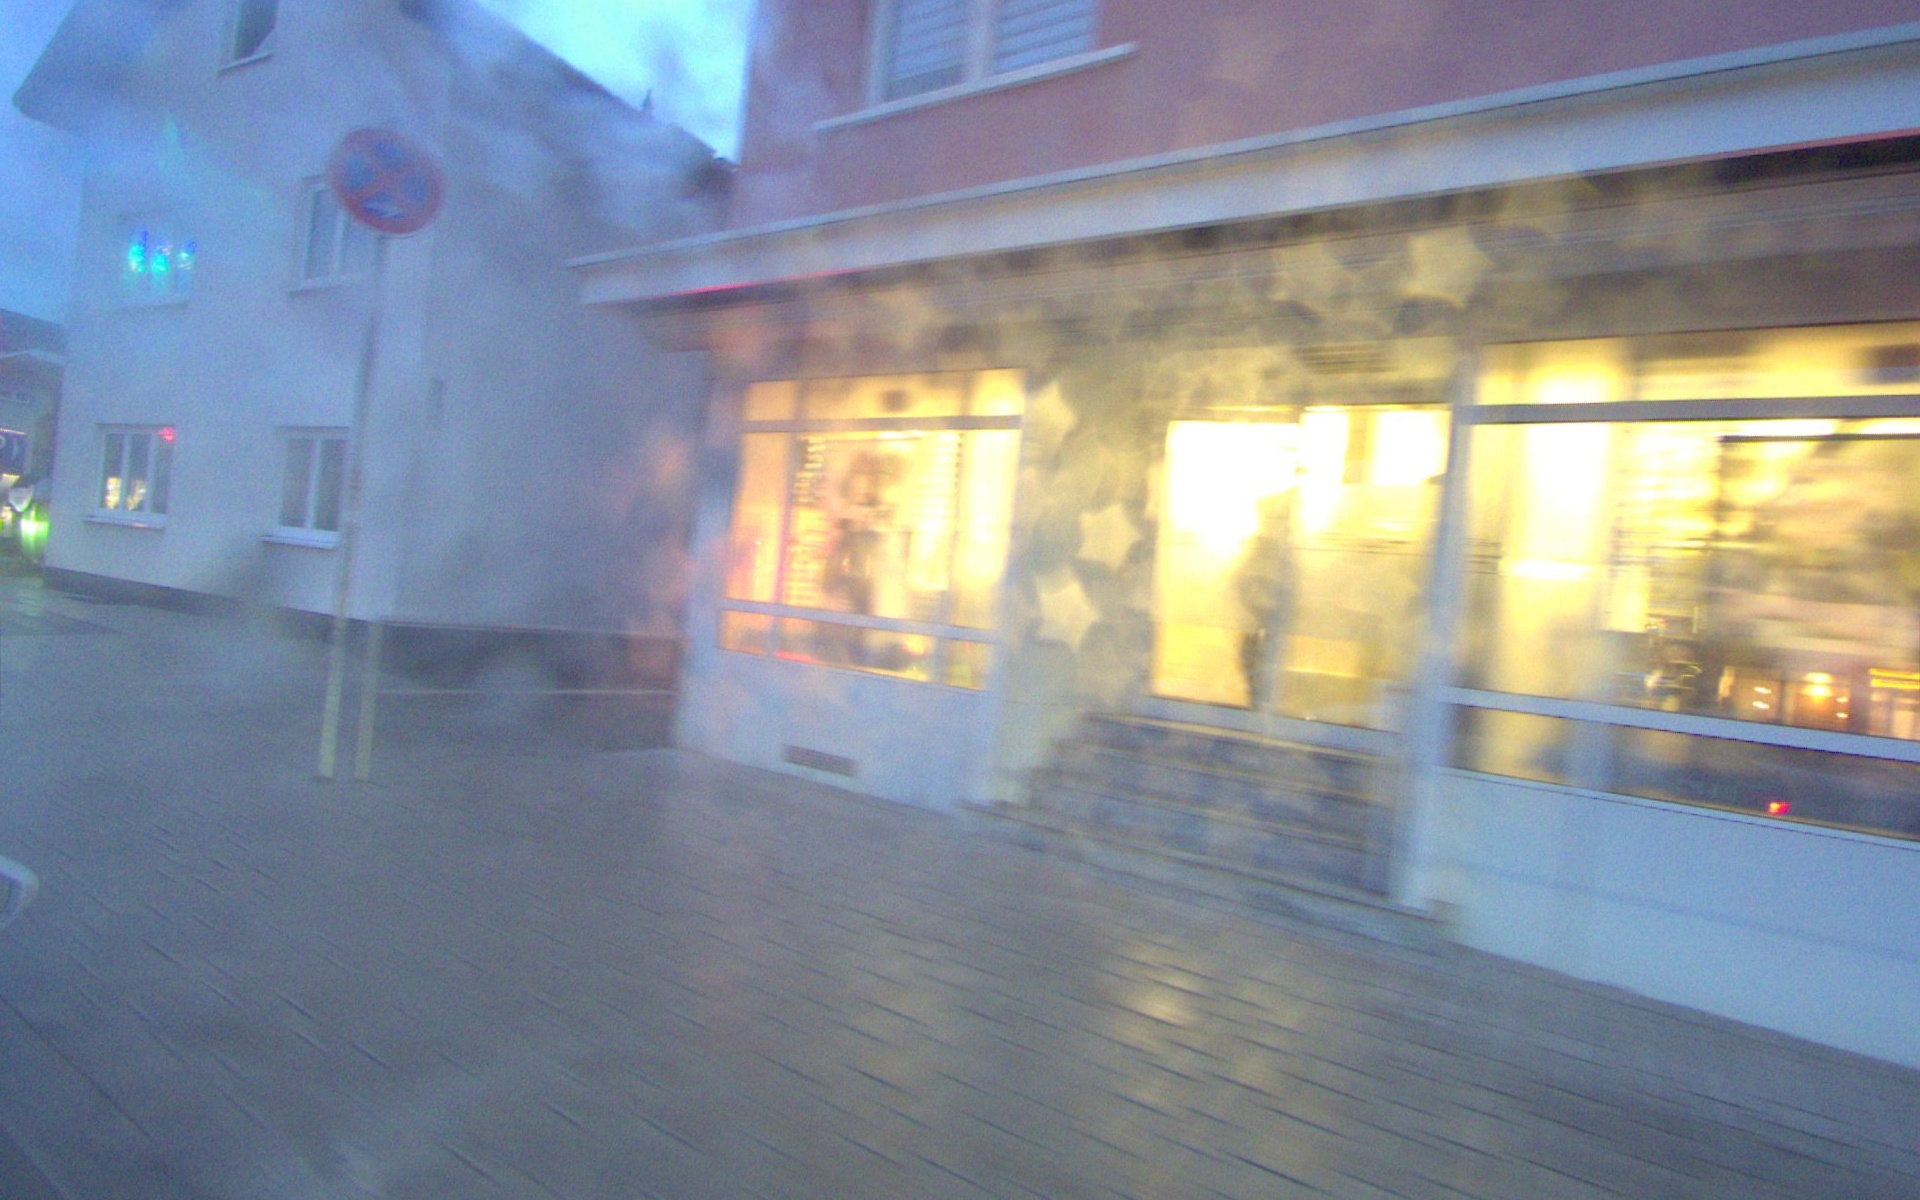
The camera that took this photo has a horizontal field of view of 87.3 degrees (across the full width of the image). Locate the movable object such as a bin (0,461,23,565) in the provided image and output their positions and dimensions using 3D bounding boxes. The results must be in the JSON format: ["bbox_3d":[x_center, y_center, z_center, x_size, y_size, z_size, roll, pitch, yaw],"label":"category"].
[{"bbox_3d":[-16.254,-1.493,16.160,1.240,1.665,1.394,7,2,31],"label":"movable object such as a bin"}]

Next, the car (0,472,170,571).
[{"bbox_3d":[-17.524,-1.548,18.745,1.883,1.504,3.987,6,-1,36],"label":"car"}]

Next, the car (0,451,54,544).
[{"bbox_3d":[-23.930,-2.605,23.313,1.972,2.076,4.083,7,1,41],"label":"car"}]

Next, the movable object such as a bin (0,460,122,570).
[{"bbox_3d":[-15.489,-1.446,17.290,1.165,1.666,1.286,7,2,30],"label":"movable object such as a bin"}]
